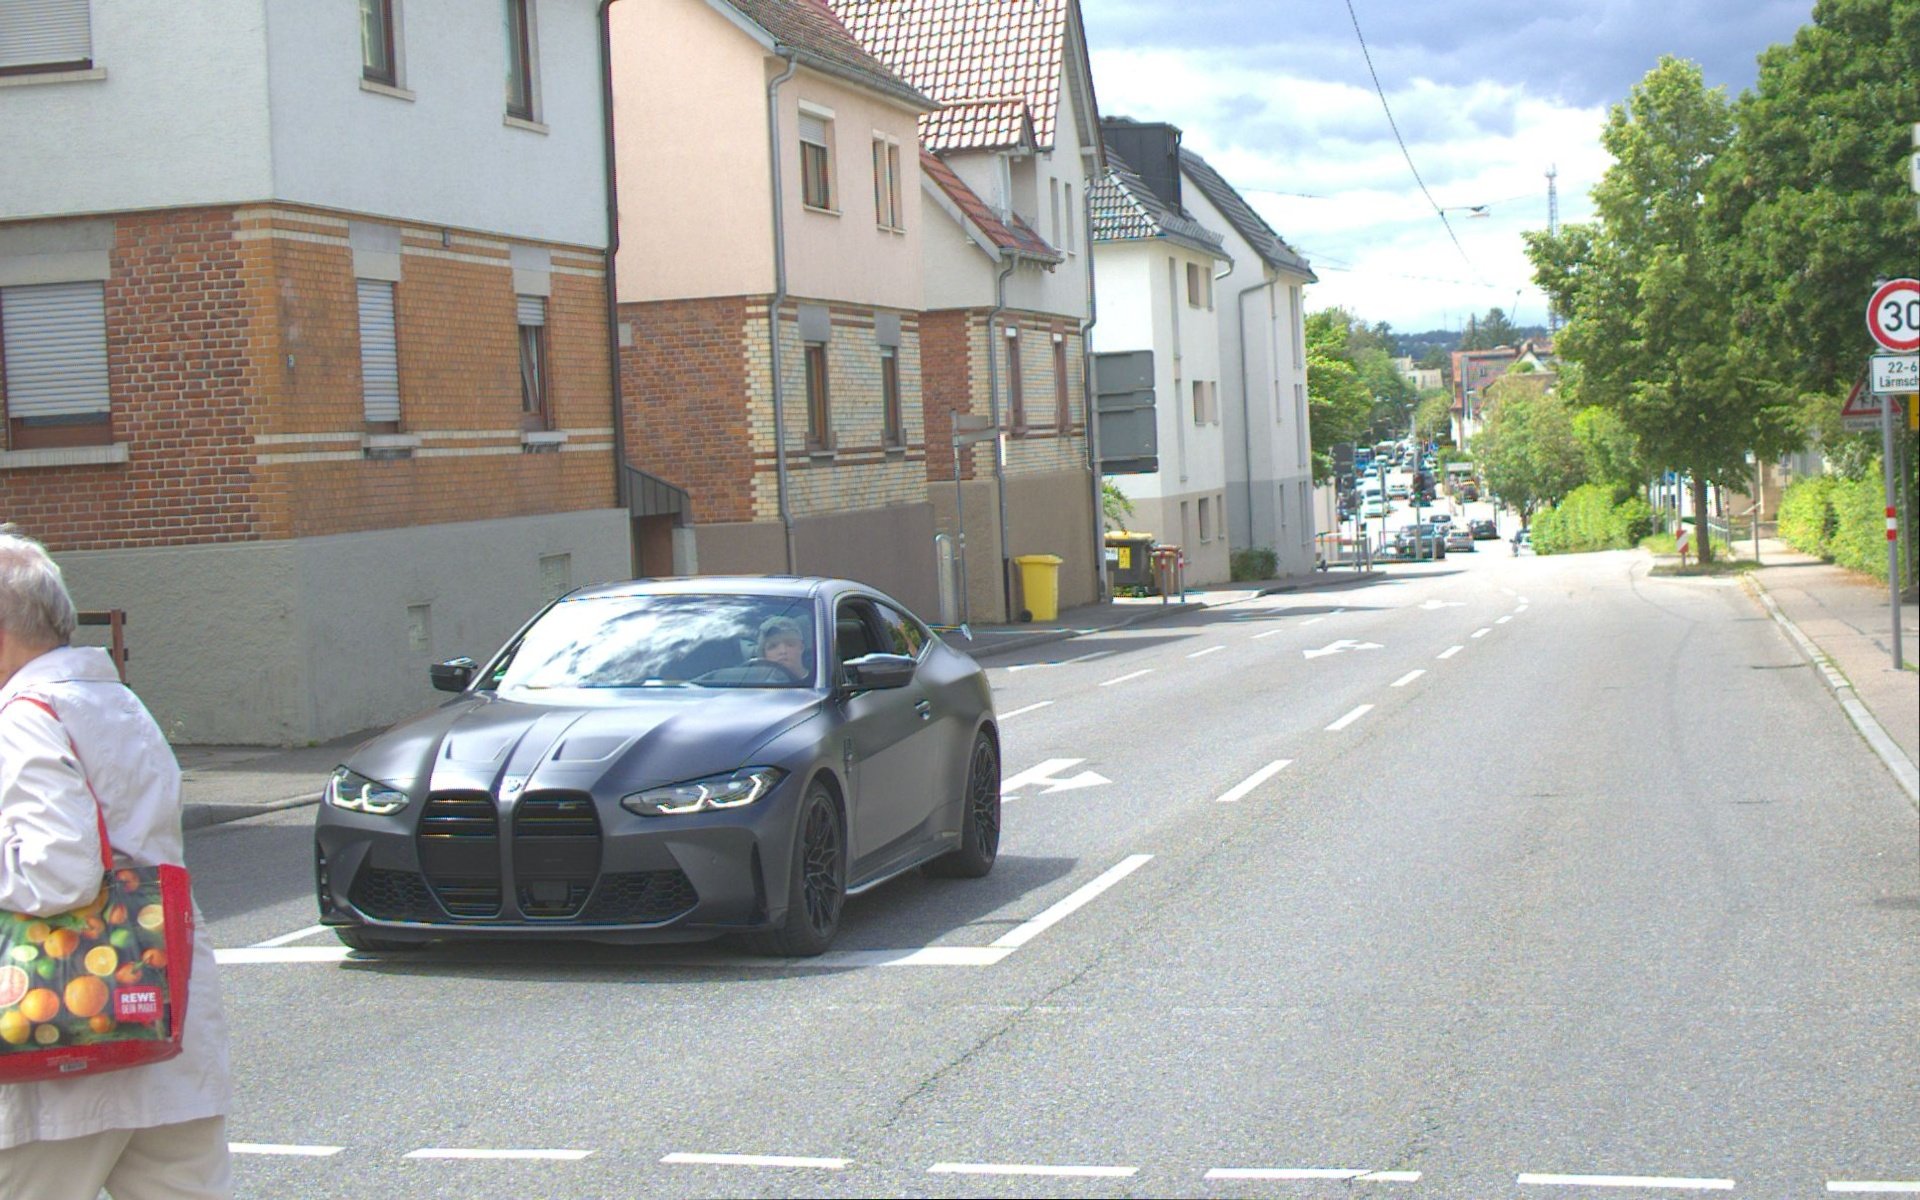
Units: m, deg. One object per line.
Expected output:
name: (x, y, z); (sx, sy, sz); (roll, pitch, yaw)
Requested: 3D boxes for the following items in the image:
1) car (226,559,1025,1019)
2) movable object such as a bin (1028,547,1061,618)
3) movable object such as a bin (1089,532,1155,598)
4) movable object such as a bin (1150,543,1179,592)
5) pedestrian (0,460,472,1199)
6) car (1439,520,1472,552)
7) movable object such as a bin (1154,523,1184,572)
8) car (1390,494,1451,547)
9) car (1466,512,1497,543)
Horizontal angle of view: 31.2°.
car: (-1.157, 0.653, 14.374); (1.994, 1.452, 4.615); (-3, 1, 11)
movable object such as a bin: (1.373, -0.289, 55.898); (0.431, 1.124, 0.299); (-3, 1, 11)
movable object such as a bin: (3.391, -0.740, 71.826); (1.281, 1.305, 0.816); (-2, 1, 6)
movable object such as a bin: (4.336, -0.692, 72.935); (0.532, 1.026, 0.455); (-2, 1, 10)
pedestrian: (-1.338, 0.624, 5.207); (0.872, 1.632, 0.835); (-1, 1, 23)
car: (32.110, -4.140, 222.920); (1.994, 2.007, 3.999); (-3, 0, 8)
movable object such as a bin: (4.458, -1.121, 73.334); (0.532, 1.026, 0.455); (-2, 1, 10)
car: (18.318, -3.162, 136.819); (1.994, 2.007, 4.000); (-2, 1, 3)
car: (36.121, -5.035, 238.212); (1.994, 2.007, 3.999); (-3, 0, 8)
